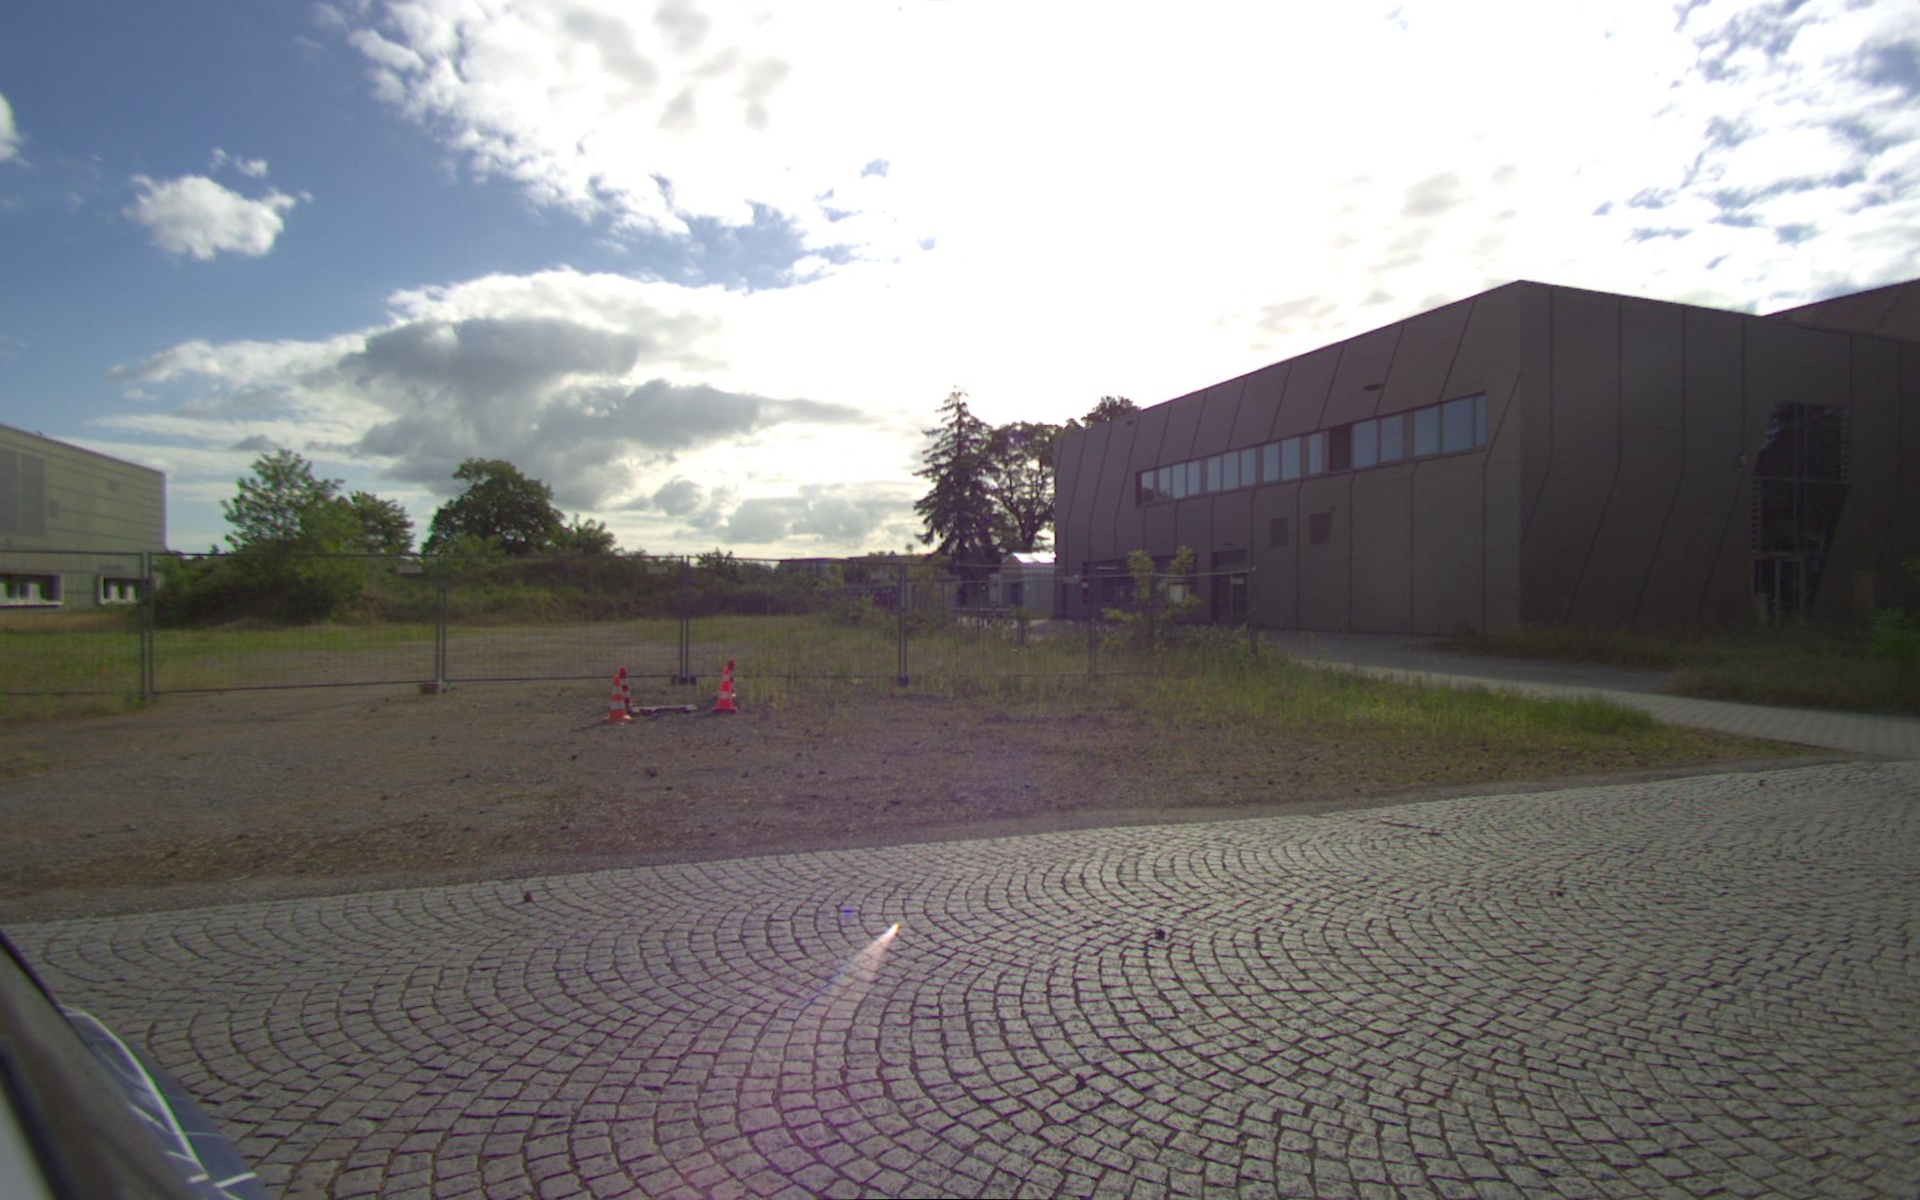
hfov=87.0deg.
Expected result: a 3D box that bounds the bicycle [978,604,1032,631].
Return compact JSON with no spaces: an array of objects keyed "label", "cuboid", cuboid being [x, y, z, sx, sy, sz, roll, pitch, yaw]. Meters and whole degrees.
[{"label":"bicycle","cuboid":[1.897,0.729,42.421,2.033,1.095,0.949,0,0,-22]}]

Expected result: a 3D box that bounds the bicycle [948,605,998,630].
[{"label":"bicycle","cuboid":[0.603,0.774,45.559,2.033,1.052,0.949,0,0,-22]}]

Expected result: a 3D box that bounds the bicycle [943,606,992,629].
[{"label":"bicycle","cuboid":[0.363,0.794,46.556,2.033,1.052,0.949,0,0,-22]}]
